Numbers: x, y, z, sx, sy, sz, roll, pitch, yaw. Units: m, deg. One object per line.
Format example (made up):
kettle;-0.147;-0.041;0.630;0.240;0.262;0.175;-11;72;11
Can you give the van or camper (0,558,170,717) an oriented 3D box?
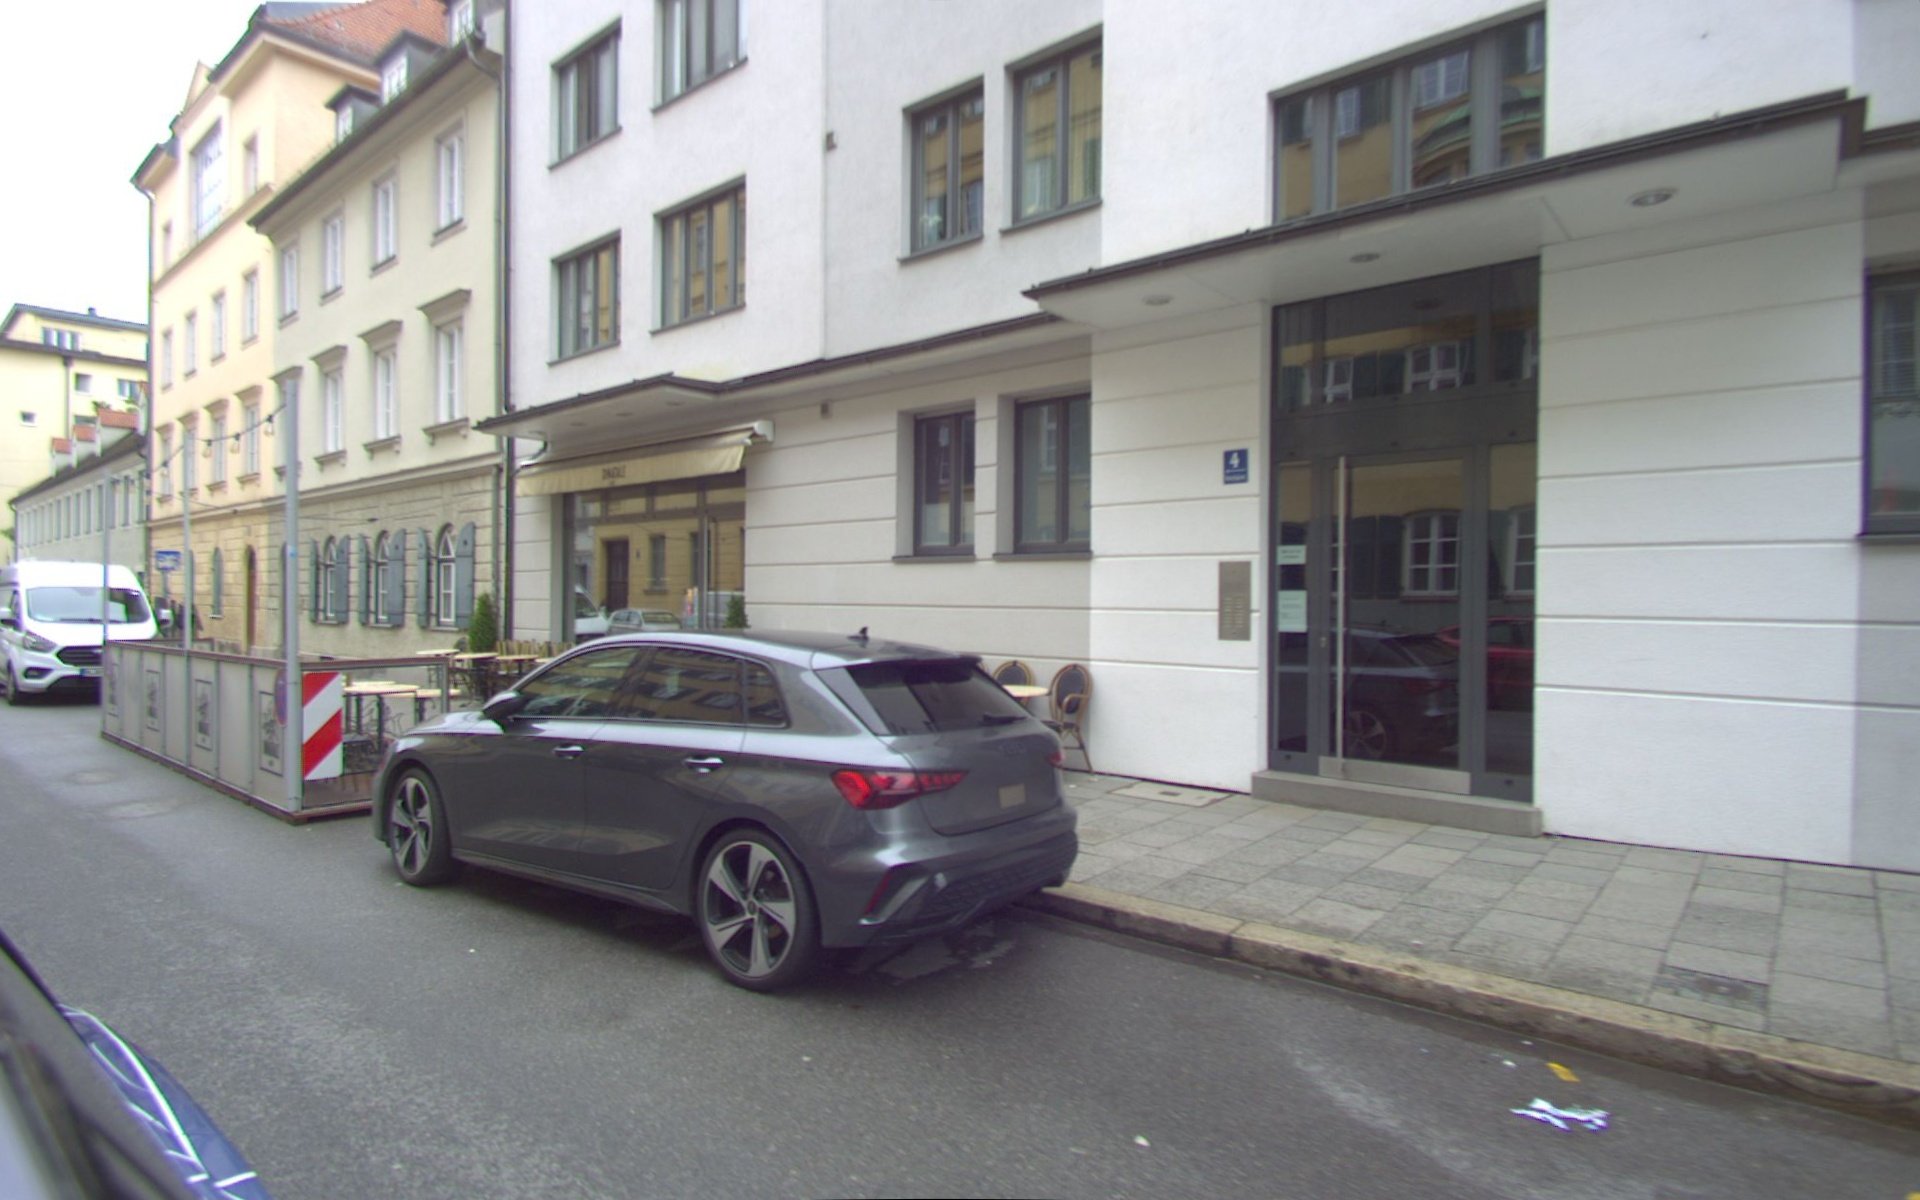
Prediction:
van or camper;-15.463;0.584;17.416;5.477;2.329;1.972;-1;-2;42

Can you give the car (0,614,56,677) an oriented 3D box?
car;-23.422;1.067;24.370;4.265;1.412;1.839;-1;0;40

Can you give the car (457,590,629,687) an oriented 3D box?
car;-9.690;0.830;23.355;4.399;2.029;1.972;-1;-2;42

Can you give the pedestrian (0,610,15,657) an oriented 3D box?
pedestrian;-33.121;1.160;34.960;0.662;1.610;0.607;-1;-1;38

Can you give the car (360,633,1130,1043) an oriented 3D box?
car;-1.304;0.876;5.308;4.049;1.365;1.625;-1;-2;35

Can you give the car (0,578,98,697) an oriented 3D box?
car;-19.382;0.719;20.771;4.557;2.218;1.839;-1;0;40

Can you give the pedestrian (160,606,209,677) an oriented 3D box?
pedestrian;-19.340;1.018;25.239;1.021;1.725;0.797;-1;-2;42

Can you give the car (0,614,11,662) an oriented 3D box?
car;-30.816;1.163;31.172;4.266;1.412;1.839;-1;0;40

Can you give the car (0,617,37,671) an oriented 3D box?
car;-26.904;1.181;27.654;4.264;1.412;1.839;-1;0;38
